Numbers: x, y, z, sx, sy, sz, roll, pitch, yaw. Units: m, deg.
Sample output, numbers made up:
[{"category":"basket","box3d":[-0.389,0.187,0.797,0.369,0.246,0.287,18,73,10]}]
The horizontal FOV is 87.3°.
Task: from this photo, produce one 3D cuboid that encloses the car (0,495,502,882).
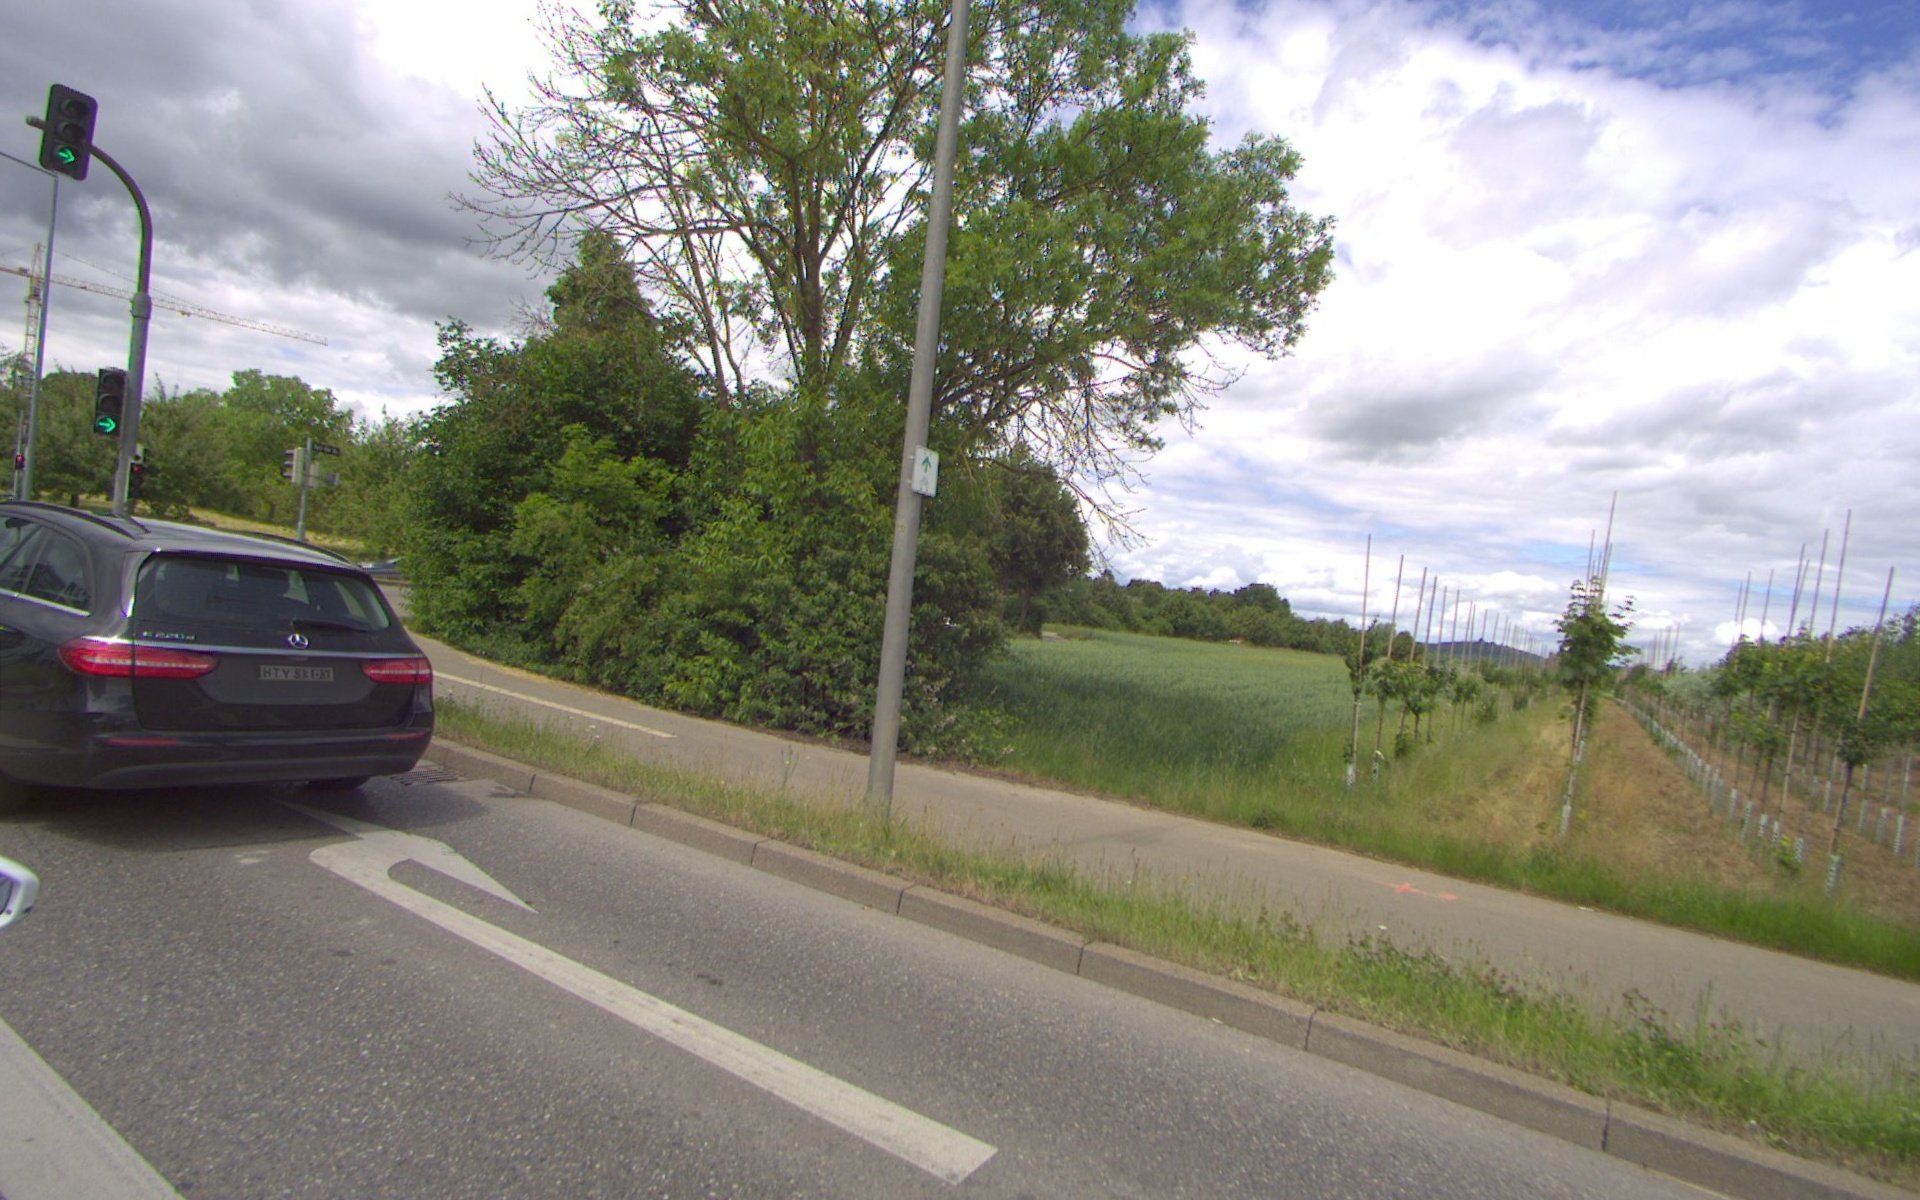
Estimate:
[{"category":"car","box3d":[-5.322,0.187,6.101,5.110,1.459,1.875,7,1,29]}]
